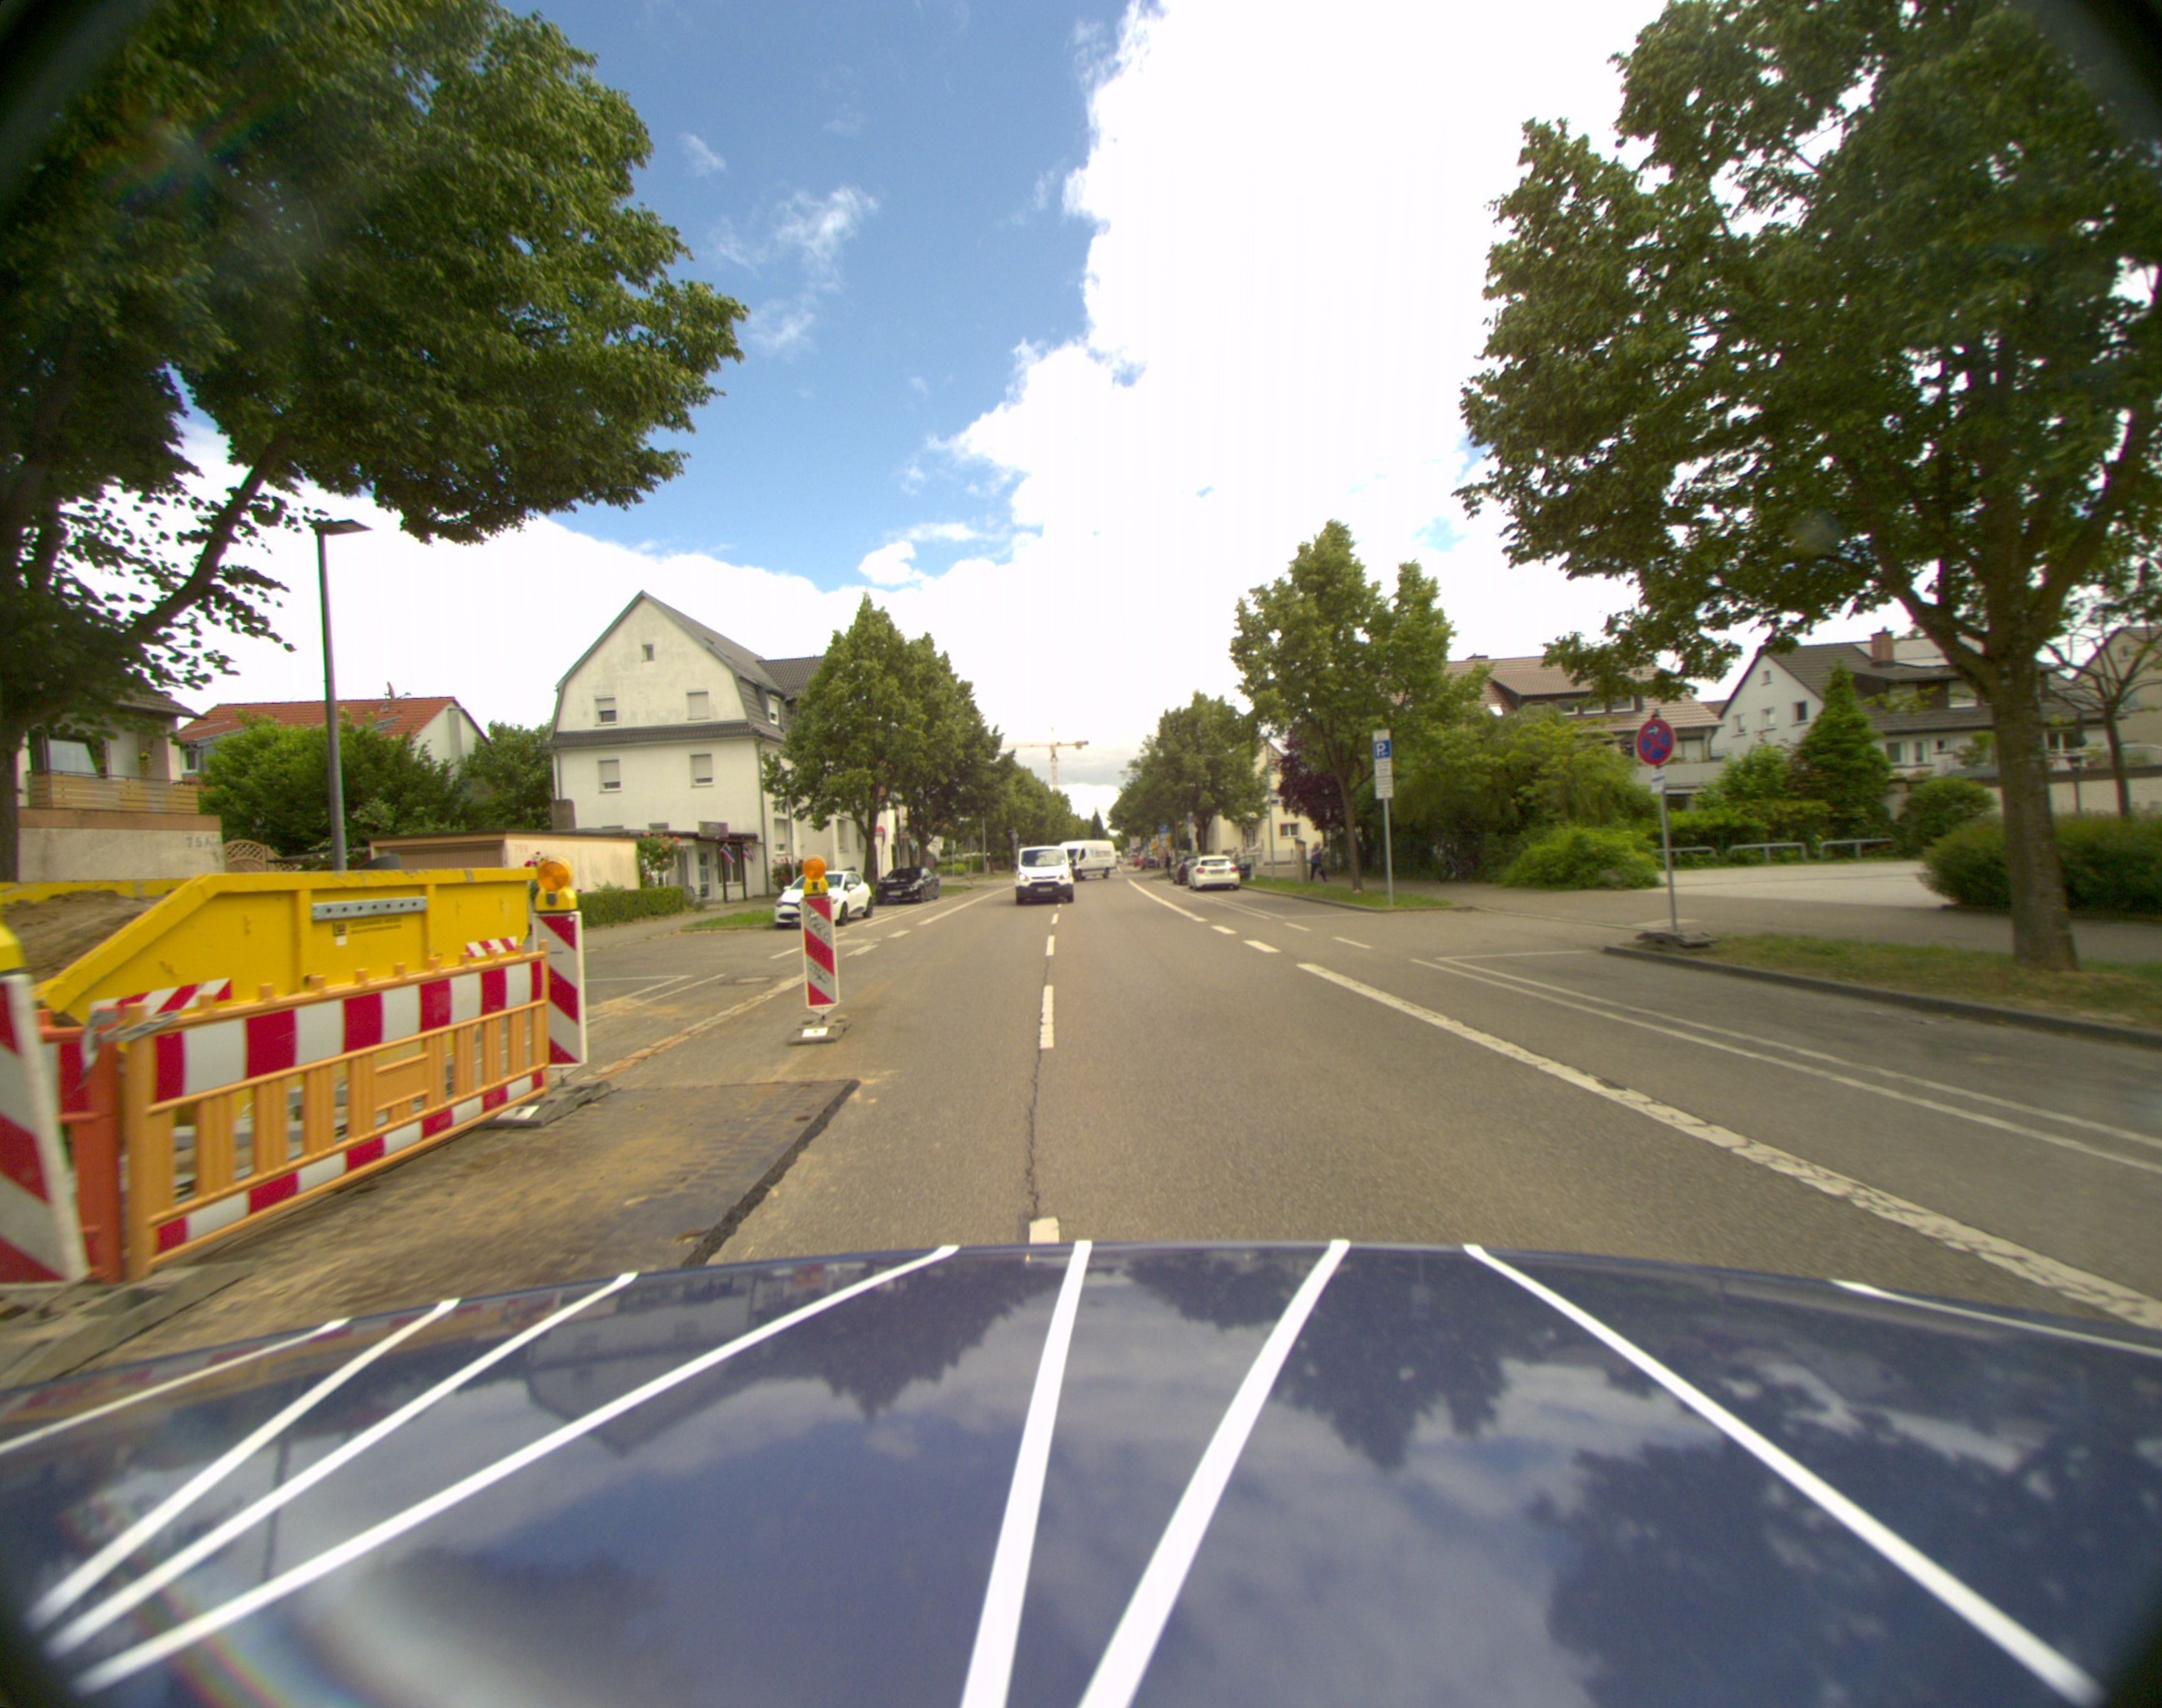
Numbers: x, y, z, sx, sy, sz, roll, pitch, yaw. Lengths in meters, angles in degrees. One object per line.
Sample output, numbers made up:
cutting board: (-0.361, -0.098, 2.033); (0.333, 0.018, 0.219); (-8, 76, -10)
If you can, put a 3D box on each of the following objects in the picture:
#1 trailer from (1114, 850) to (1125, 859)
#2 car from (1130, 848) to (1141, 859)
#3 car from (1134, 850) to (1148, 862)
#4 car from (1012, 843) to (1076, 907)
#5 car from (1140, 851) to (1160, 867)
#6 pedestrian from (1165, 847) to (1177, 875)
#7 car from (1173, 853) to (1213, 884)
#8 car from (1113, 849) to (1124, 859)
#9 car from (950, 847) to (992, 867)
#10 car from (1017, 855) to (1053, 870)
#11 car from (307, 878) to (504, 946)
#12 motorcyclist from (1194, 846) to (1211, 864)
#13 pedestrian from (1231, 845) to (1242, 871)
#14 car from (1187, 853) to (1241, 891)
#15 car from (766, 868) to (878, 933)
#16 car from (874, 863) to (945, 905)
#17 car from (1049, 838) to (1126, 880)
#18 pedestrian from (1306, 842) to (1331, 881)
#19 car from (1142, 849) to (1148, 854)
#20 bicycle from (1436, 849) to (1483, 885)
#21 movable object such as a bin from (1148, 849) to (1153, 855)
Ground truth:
trailer: (7.439, 0.114, 148.354); (1.942, 1.667, 4.689); (-3, 0, 2)
car: (8.892, -0.106, 124.587); (1.774, 1.760, 4.552); (-3, 0, 4)
car: (7.802, 0.258, 98.460); (1.689, 1.532, 4.133); (-2, 0, 4)
car: (-1.339, 0.692, 27.617); (1.999, 2.002, 5.049); (-3, 0, -3)
car: (6.861, 0.457, 75.868); (1.735, 1.460, 4.302); (-2, 0, 3)
pedestrian: (5.536, 0.436, 46.592); (0.543, 1.671, 0.751); (-4, -1, 10)
car: (5.573, 0.681, 38.139); (1.646, 1.412, 4.021); (-2, 0, 4)
car: (7.564, -0.018, 153.104); (1.971, 1.820, 4.819); (-3, 0, 2)
car: (-15.791, 0.480, 109.371); (5.729, 2.576, 1.997); (-3, 0, -2)
car: (-5.462, 1.055, 91.212); (4.229, 1.628, 1.693); (-2, 0, -3)
car: (-17.902, 1.473, 20.425); (1.676, 1.454, 3.999); (-2, 0, -1)
motorcyclist: (9.419, 0.097, 58.910); (1.109, 1.357, 0.753); (-3, 1, 0)
pedestrian: (9.284, 0.229, 45.285); (0.431, 1.543, 0.806); (-3, 1, 2)
car: (5.471, 0.699, 31.744); (1.718, 1.398, 4.301); (-2, 0, 3)
car: (-6.962, 1.186, 20.844); (1.676, 1.454, 3.999); (-2, 0, -1)
car: (-6.834, 1.153, 30.740); (1.710, 1.446, 4.616); (-2, 0, 1)
car: (0.586, 0.243, 51.760); (2.215, 2.579, 7.324); (-2, 0, 26)
pedestrian: (9.472, 0.301, 30.282); (0.584, 1.520, 0.697); (-3, 1, -34)
car: (20.871, -0.886, 246.463); (1.665, 1.466, 3.747); (-3, 0, 2)
bicycle: (11.459, 0.375, 23.044); (0.463, 1.042, 1.581); (-3, 0, -5)
movable object such as a bin: (18.211, -0.510, 198.774); (0.983, 1.408, 2.723); (-3, 0, 3)
